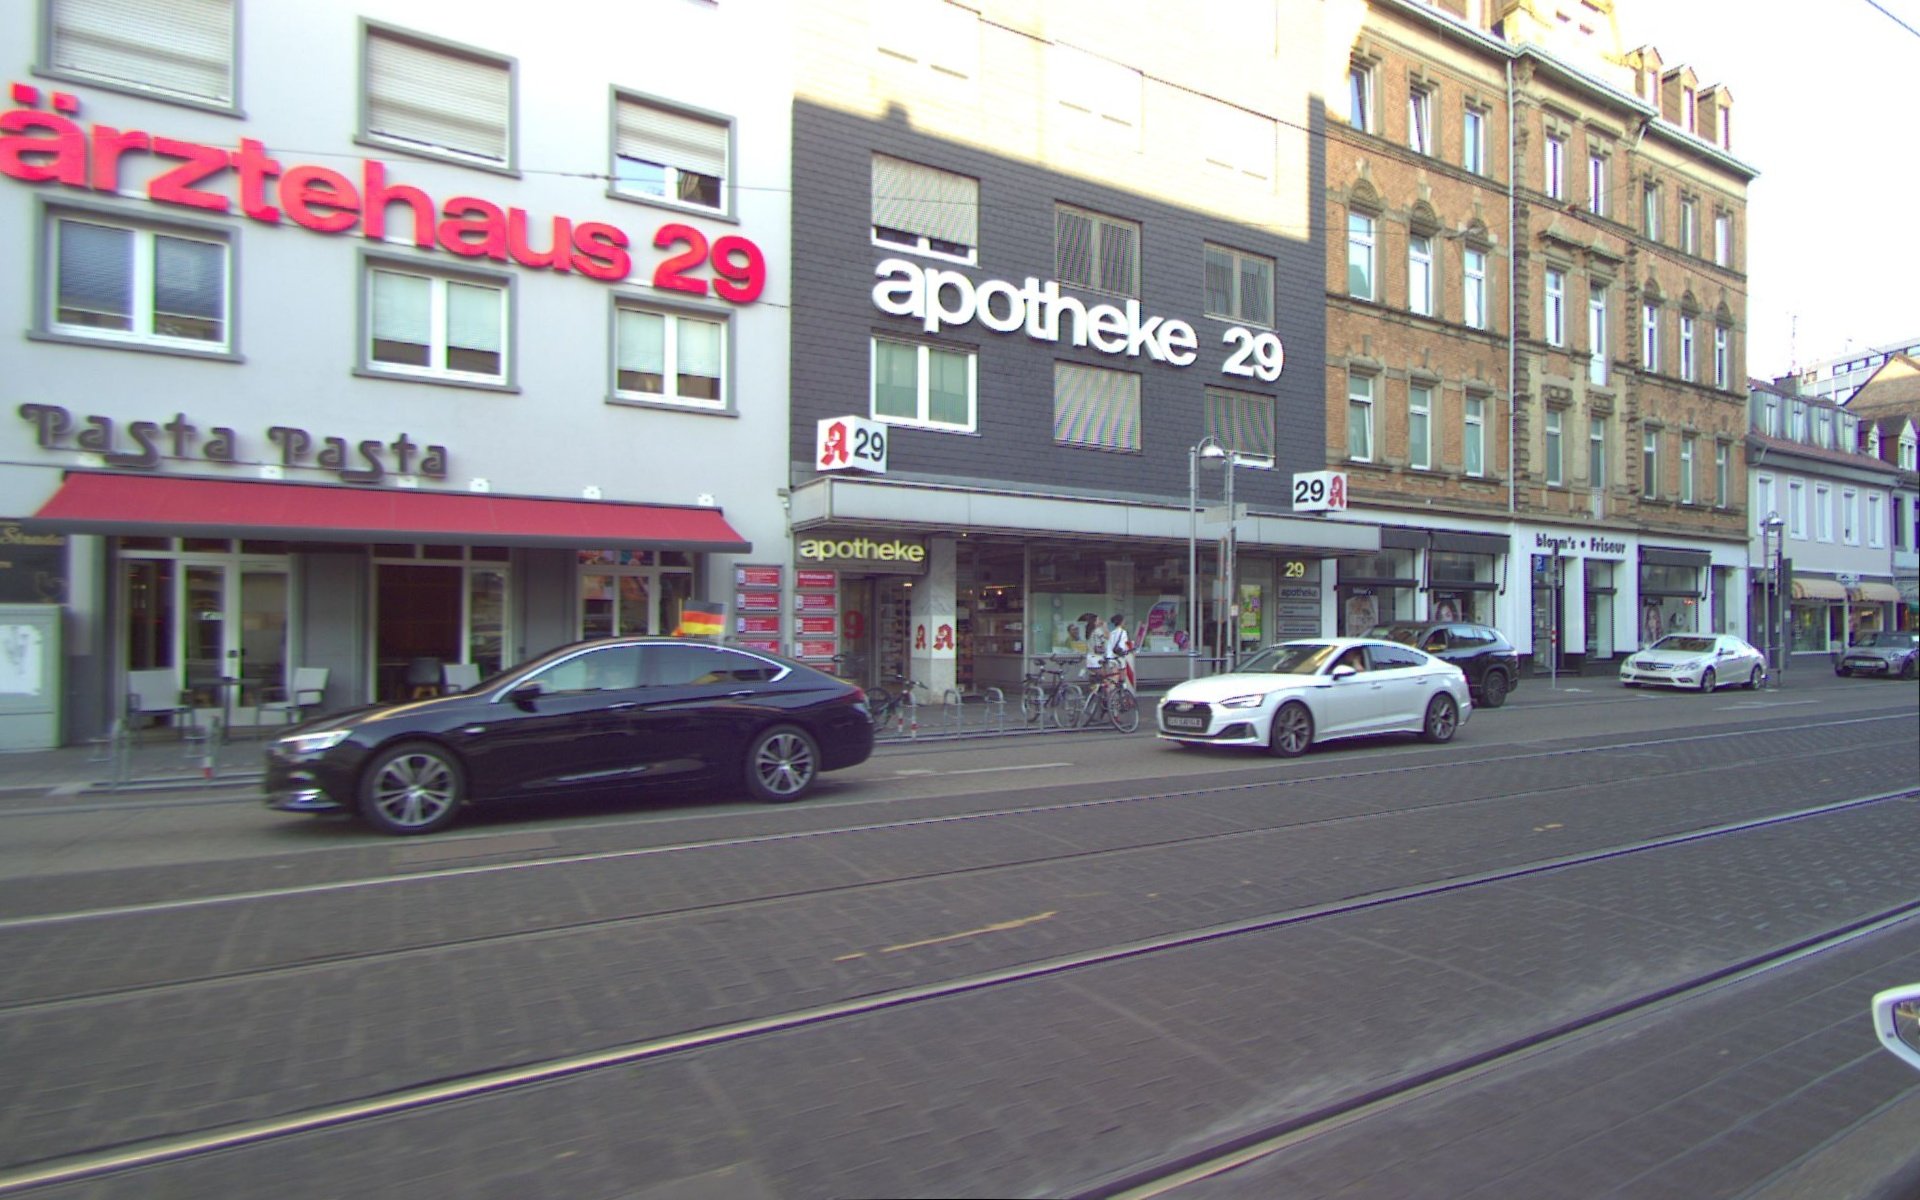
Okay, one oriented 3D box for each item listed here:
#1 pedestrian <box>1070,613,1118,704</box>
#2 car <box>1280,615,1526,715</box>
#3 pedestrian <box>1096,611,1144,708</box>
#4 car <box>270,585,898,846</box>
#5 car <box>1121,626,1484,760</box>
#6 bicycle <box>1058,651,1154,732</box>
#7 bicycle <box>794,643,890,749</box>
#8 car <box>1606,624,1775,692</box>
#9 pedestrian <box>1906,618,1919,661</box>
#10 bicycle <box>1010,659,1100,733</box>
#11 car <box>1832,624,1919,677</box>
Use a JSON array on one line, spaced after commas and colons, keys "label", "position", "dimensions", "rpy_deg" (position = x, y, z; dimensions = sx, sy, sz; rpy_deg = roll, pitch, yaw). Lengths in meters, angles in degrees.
[{"label": "pedestrian", "position": [2.529, 1.085, 18.938], "dimensions": [0.617, 1.683, 0.679], "rpy_deg": [0, 0, -30]}, {"label": "car", "position": [8.537, 1.159, 19.314], "dimensions": [4.587, 1.697, 1.923], "rpy_deg": [1, 0, -28]}, {"label": "pedestrian", "position": [2.896, 1.061, 18.191], "dimensions": [0.595, 1.722, 0.617], "rpy_deg": [0, 0, -30]}, {"label": "car", "position": [-3.070, 0.859, 8.792], "dimensions": [4.670, 1.750, 1.985], "rpy_deg": [1, -3, -29]}, {"label": "car", "position": [4.547, 1.121, 13.184], "dimensions": [4.602, 1.472, 1.984], "rpy_deg": [1, -4, -31]}, {"label": "bicycle", "position": [2.253, 1.398, 15.734], "dimensions": [0.483, 1.061, 1.822], "rpy_deg": [-1, 2, -29]}, {"label": "bicycle", "position": [-1.671, 1.270, 13.916], "dimensions": [0.546, 1.240, 2.102], "rpy_deg": [1, 1, -29]}, {"label": "car", "position": [18.445, 1.394, 25.308], "dimensions": [4.559, 1.472, 1.858], "rpy_deg": [1, 1, -32]}, {"label": "pedestrian", "position": [37.327, 1.529, 39.017], "dimensions": [0.686, 1.666, 0.659], "rpy_deg": [1, -1, -29]}, {"label": "bicycle", "position": [1.430, 1.447, 15.457], "dimensions": [0.450, 0.924, 1.797], "rpy_deg": [-1, 2, -29]}, {"label": "car", "position": [29.057, 1.539, 31.379], "dimensions": [3.766, 1.459, 1.591], "rpy_deg": [0, 1, -29]}]
